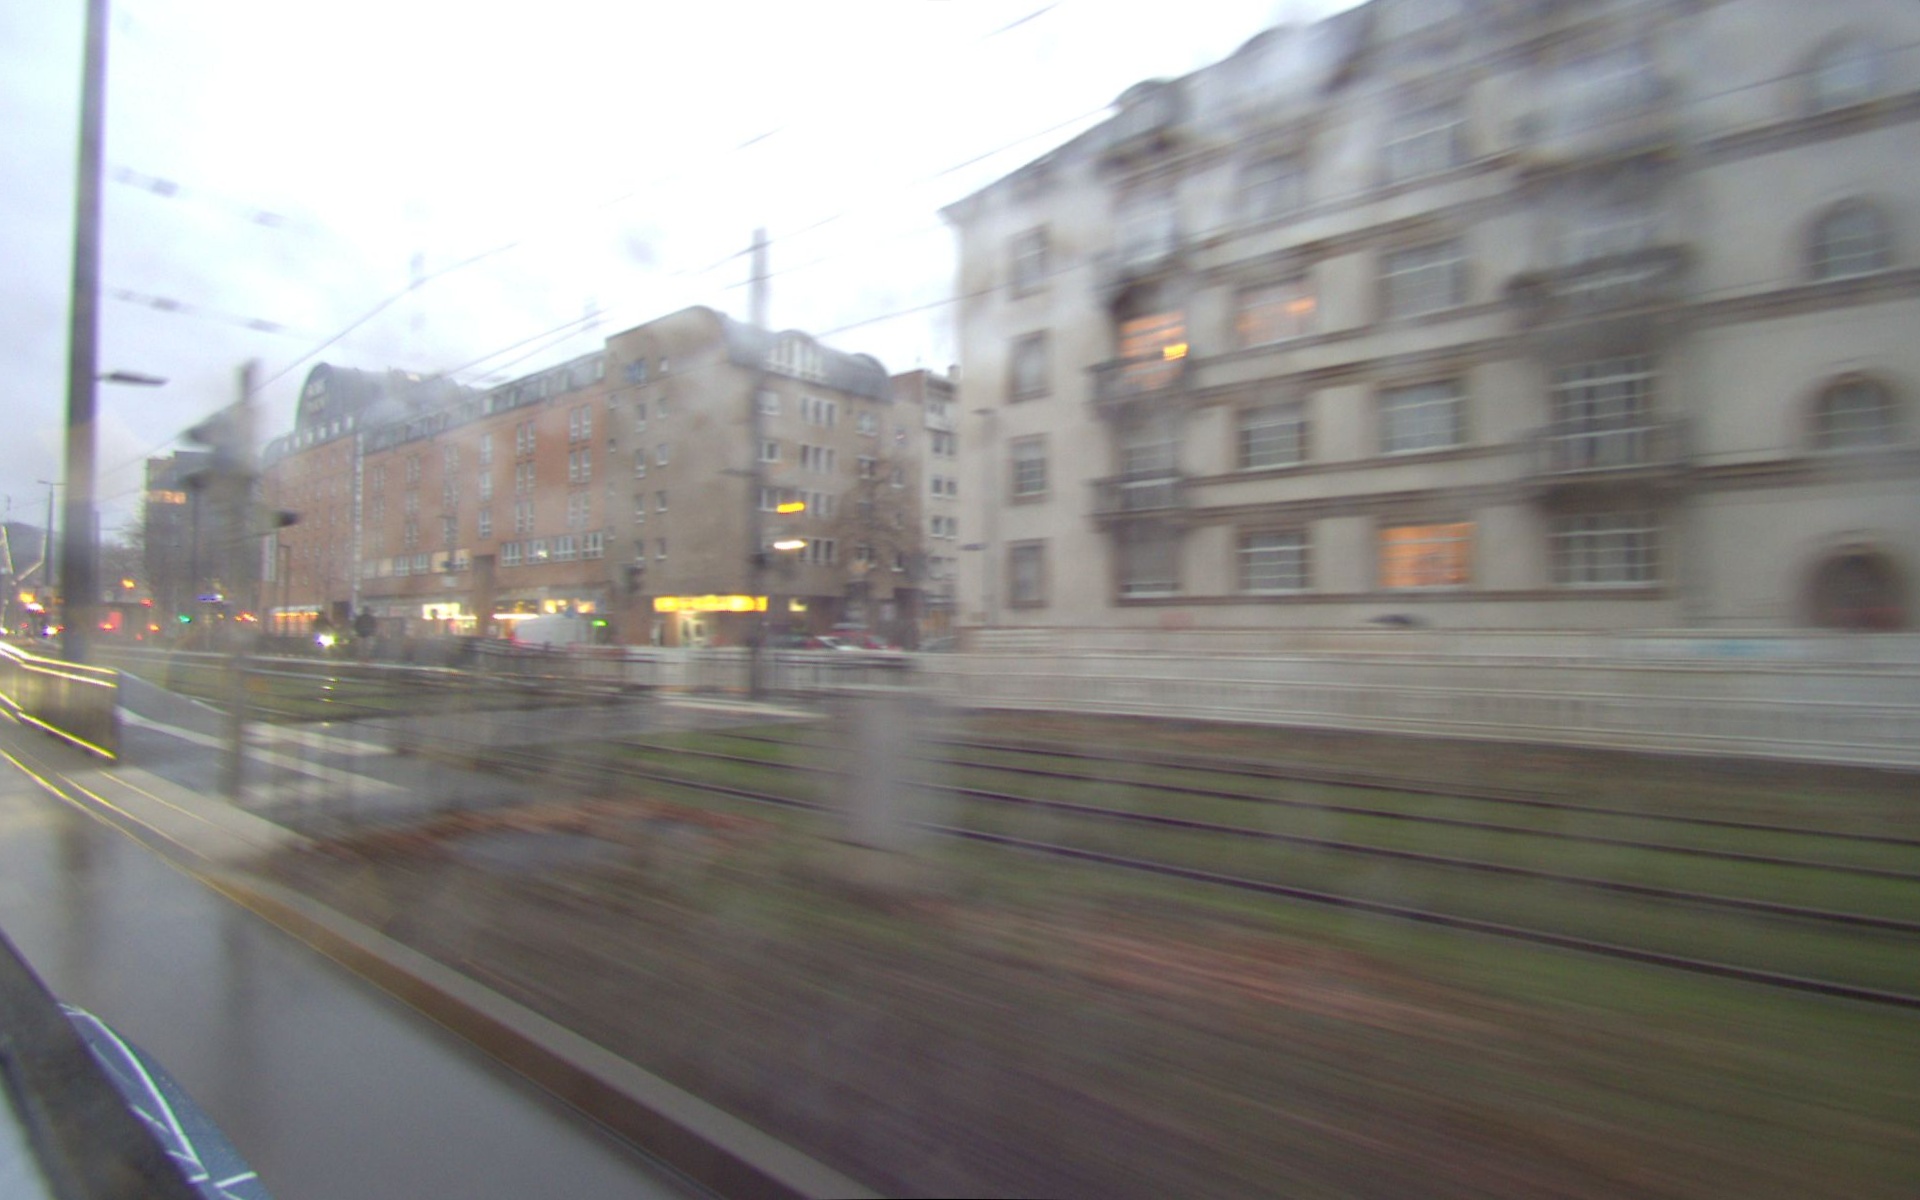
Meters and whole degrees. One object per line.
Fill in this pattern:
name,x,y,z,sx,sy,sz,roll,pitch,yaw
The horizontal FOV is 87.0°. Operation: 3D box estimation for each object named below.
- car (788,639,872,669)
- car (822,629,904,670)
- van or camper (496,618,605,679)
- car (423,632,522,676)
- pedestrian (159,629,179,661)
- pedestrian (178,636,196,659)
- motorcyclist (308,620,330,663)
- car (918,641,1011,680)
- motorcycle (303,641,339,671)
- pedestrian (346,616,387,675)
car,-6.603,2.732,51.473,4.127,1.441,1.590,-1,-3,30
car,-5.136,2.604,53.550,4.127,2.050,1.730,-1,-3,30
van or camper,-20.010,2.293,49.243,2.740,2.702,6.762,0,-1,-42
car,-16.194,1.750,33.572,3.543,1.364,1.665,-1,-1,40
pedestrian,-38.370,2.167,49.078,0.756,1.536,0.628,-2,-1,41
pedestrian,-37.991,2.341,49.738,0.591,1.111,0.600,-2,-1,41
motorcyclist,-22.866,1.469,36.124,0.555,1.507,0.494,-2,-1,36
car,0.177,2.376,39.957,3.406,1.490,1.447,-1,-3,24
motorcycle,-22.758,1.986,36.033,1.804,1.016,0.508,-2,-1,37
pedestrian,-18.377,1.409,31.344,0.811,1.793,0.798,-1,-1,-1
